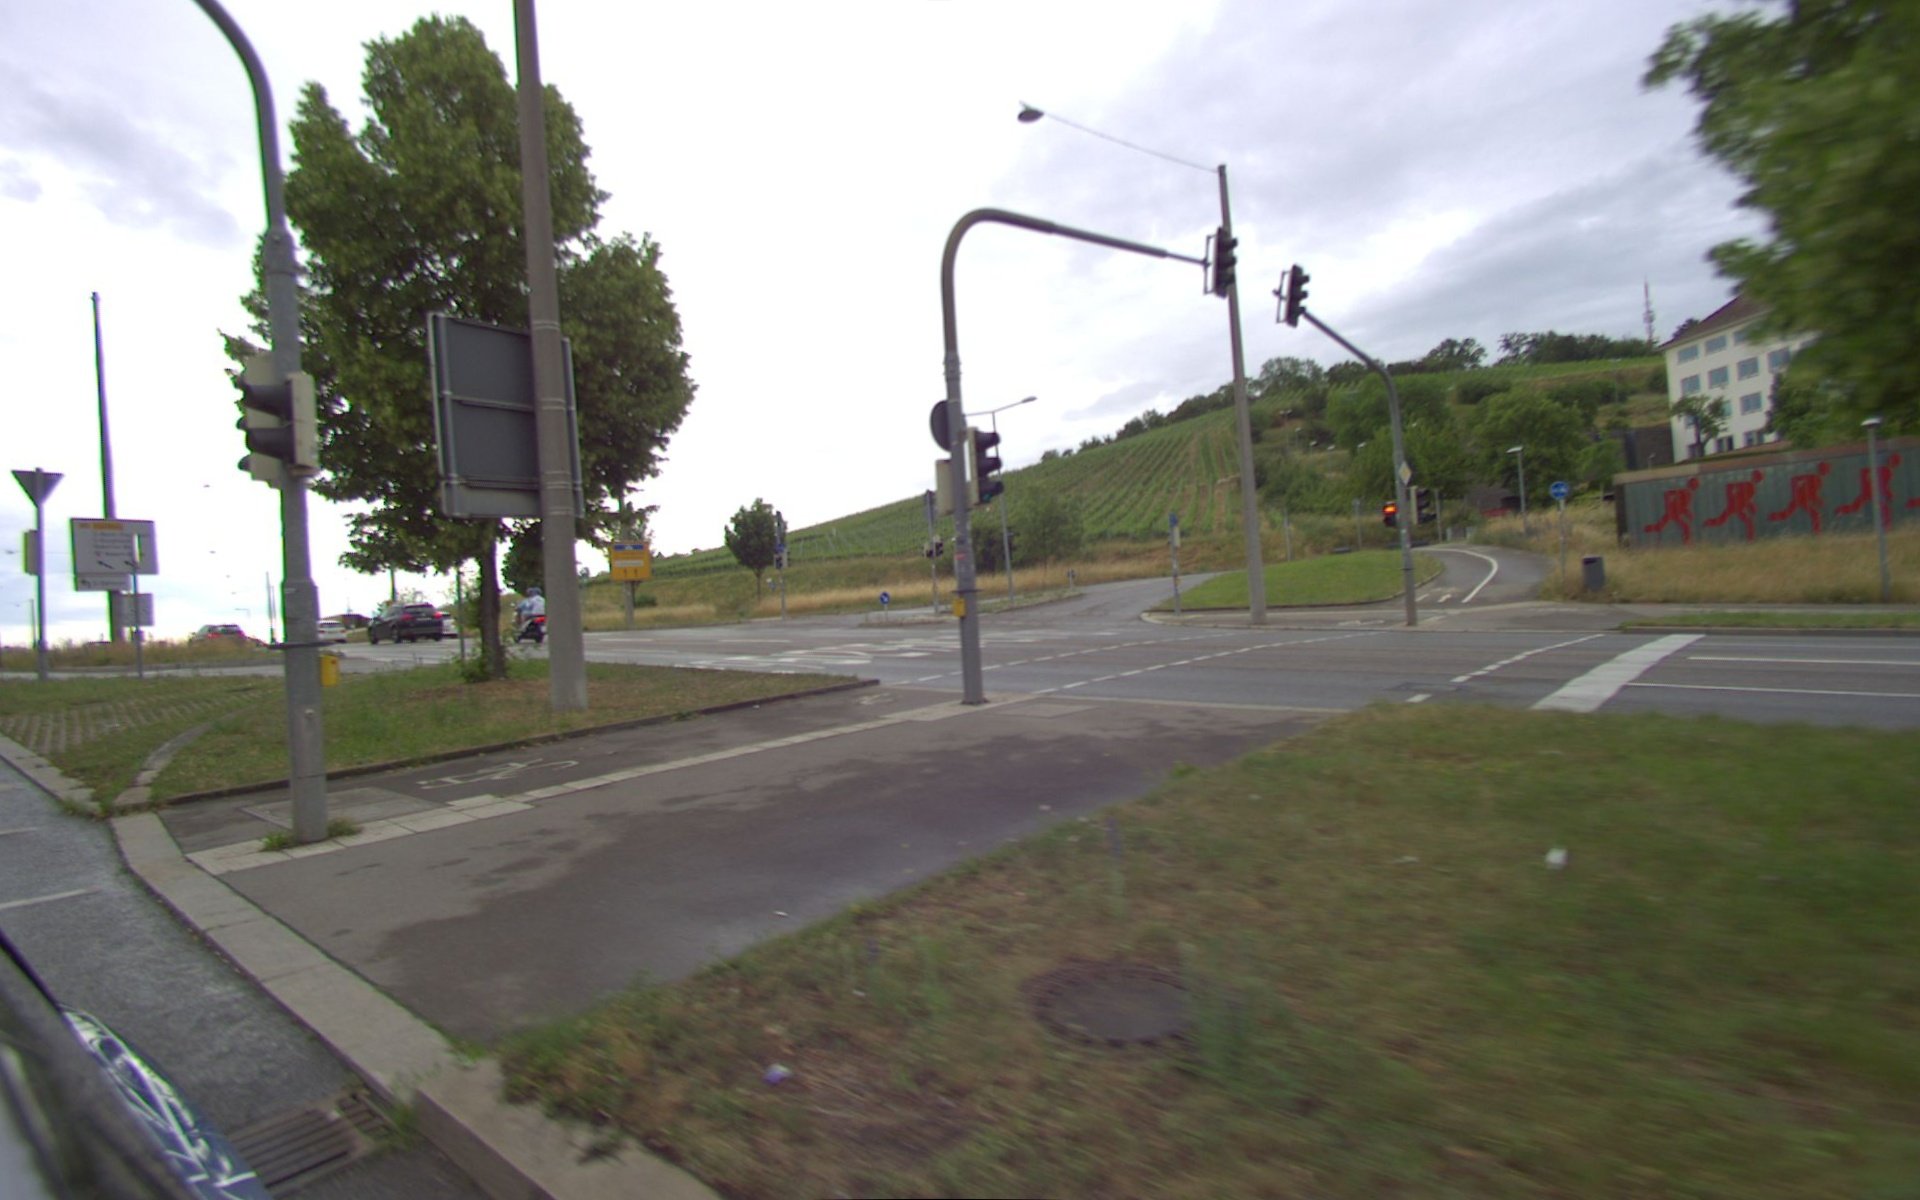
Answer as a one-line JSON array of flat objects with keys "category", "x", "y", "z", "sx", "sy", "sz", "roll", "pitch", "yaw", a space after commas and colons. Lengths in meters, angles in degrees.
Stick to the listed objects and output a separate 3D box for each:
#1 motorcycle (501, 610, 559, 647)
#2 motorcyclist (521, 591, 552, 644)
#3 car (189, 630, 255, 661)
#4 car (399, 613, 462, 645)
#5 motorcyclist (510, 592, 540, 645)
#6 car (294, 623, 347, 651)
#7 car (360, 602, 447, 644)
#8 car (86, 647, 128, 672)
[{"category": "motorcycle", "x": -13.423, "y": 0.908, "z": 31.558, "sx": 2.500, "sy": 1.058, "sz": 0.610, "roll": -3, "pitch": -1, "yaw": 41}, {"category": "motorcyclist", "x": -13.075, "y": 0.545, "z": 31.243, "sx": 0.581, "sy": 1.593, "sz": 0.606, "roll": -3, "pitch": -1, "yaw": 40}, {"category": "car", "x": -39.762, "y": 2.425, "z": 54.509, "sx": 4.458, "sy": 1.515, "sz": 1.734, "roll": -2, "pitch": 0, "yaw": 38}, {"category": "car", "x": -27.672, "y": 1.515, "z": 52.849, "sx": 3.772, "sy": 1.474, "sz": 1.634, "roll": -3, "pitch": -1, "yaw": 42}, {"category": "motorcyclist", "x": -13.623, "y": 0.571, "z": 31.710, "sx": 0.643, "sy": 1.608, "sz": 0.576, "roll": -4, "pitch": -1, "yaw": 40}, {"category": "car", "x": -41.093, "y": 2.361, "z": 64.967, "sx": 4.176, "sy": 1.660, "sz": 1.749, "roll": -1, "pitch": 1, "yaw": 42}, {"category": "car", "x": -21.783, "y": 0.899, "z": 39.582, "sx": 3.655, "sy": 1.515, "sz": 1.525, "roll": -1, "pitch": 1, "yaw": 36}, {"category": "car", "x": -62.830, "y": 4.395, "z": 74.533, "sx": 3.998, "sy": 1.529, "sz": 1.749, "roll": -7, "pitch": -3, "yaw": 41}]
